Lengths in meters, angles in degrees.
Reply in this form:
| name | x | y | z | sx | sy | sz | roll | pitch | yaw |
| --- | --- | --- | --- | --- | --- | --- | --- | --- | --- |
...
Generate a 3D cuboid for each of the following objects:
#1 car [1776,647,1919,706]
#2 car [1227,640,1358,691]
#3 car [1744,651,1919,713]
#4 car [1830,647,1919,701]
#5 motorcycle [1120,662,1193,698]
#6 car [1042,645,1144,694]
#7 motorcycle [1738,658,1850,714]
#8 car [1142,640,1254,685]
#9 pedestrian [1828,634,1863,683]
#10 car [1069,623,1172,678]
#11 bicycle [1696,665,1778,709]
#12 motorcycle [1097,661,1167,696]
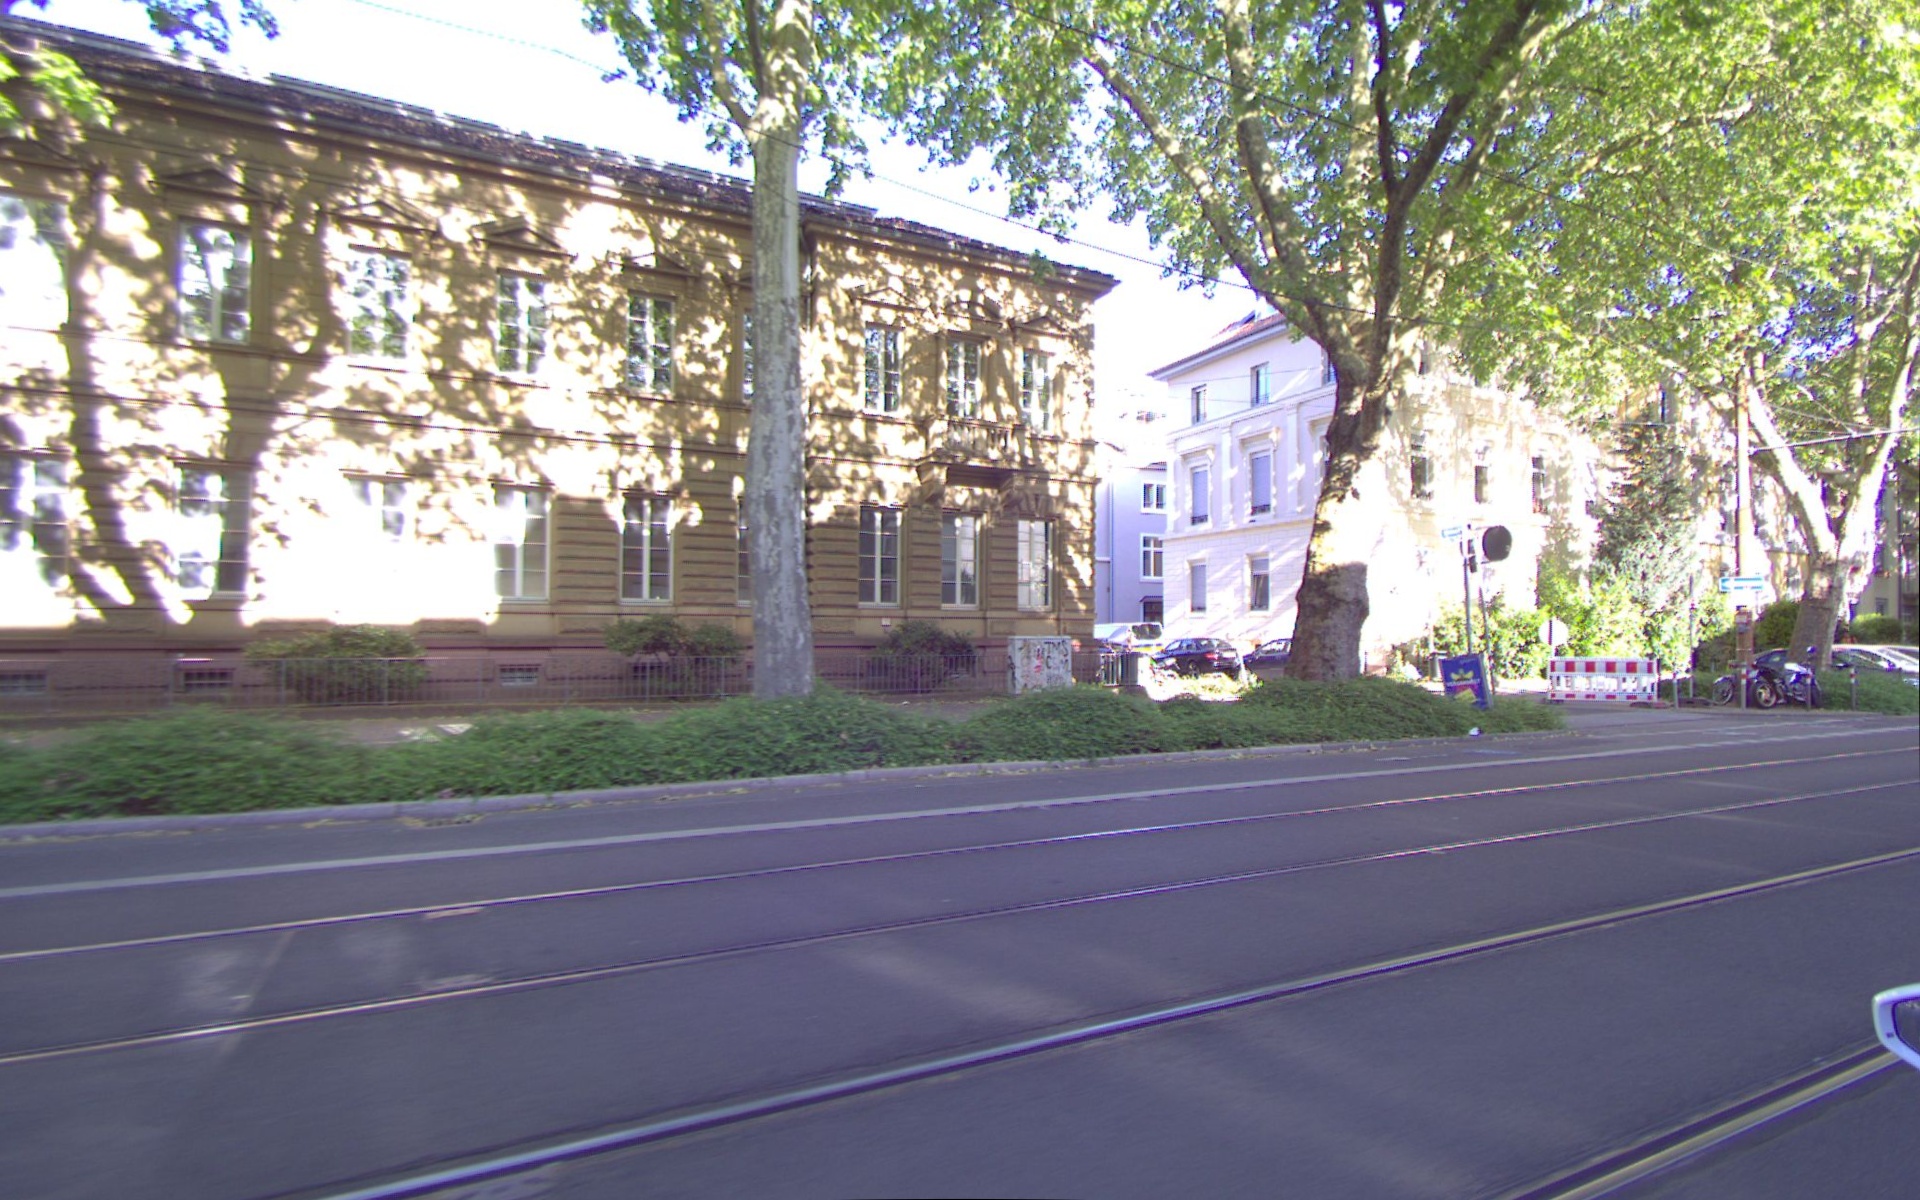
| name | x | y | z | sx | sy | sz | roll | pitch | yaw |
| --- | --- | --- | --- | --- | --- | --- | --- | --- | --- |
| car | 24.941 | 2.050 | 27.302 | 1.778 | 1.472 | 3.905 | 2 | -2 | -29 |
| car | 10.407 | 2.032 | 31.698 | 1.673 | 1.437 | 3.762 | -2 | -2 | -28 |
| car | 22.898 | 2.057 | 25.845 | 1.825 | 1.350 | 3.904 | 2 | -1 | -28 |
| car | 27.510 | 2.094 | 28.503 | 1.783 | 1.481 | 3.904 | 2 | -3 | -28 |
| motorcycle | 5.632 | 2.291 | 28.755 | 1.923 | 0.990 | 0.719 | 2 | -1 | -17 |
| car | 4.195 | 2.190 | 32.273 | 1.818 | 1.350 | 3.919 | 2 | -1 | -17 |
| motorcycle | 18.357 | 1.865 | 22.096 | 2.355 | 1.162 | 0.883 | 1 | -2 | -22 |
| car | 8.329 | 2.181 | 35.497 | 1.673 | 1.437 | 3.904 | -1 | -2 | -28 |
| pedestrian | 34.573 | 2.283 | 39.218 | 0.830 | 1.874 | 0.859 | 2 | -2 | -36 |
| car | 6.469 | 2.035 | 41.017 | 1.987 | 2.028 | 4.395 | -2 | -2 | -24 |
| bicycle | 17.849 | 1.990 | 23.063 | 2.004 | 0.953 | 0.540 | 1 | -2 | -22 |
| motorcycle | 5.141 | 2.337 | 30.016 | 1.923 | 0.990 | 0.719 | 2 | -1 | -17 |
